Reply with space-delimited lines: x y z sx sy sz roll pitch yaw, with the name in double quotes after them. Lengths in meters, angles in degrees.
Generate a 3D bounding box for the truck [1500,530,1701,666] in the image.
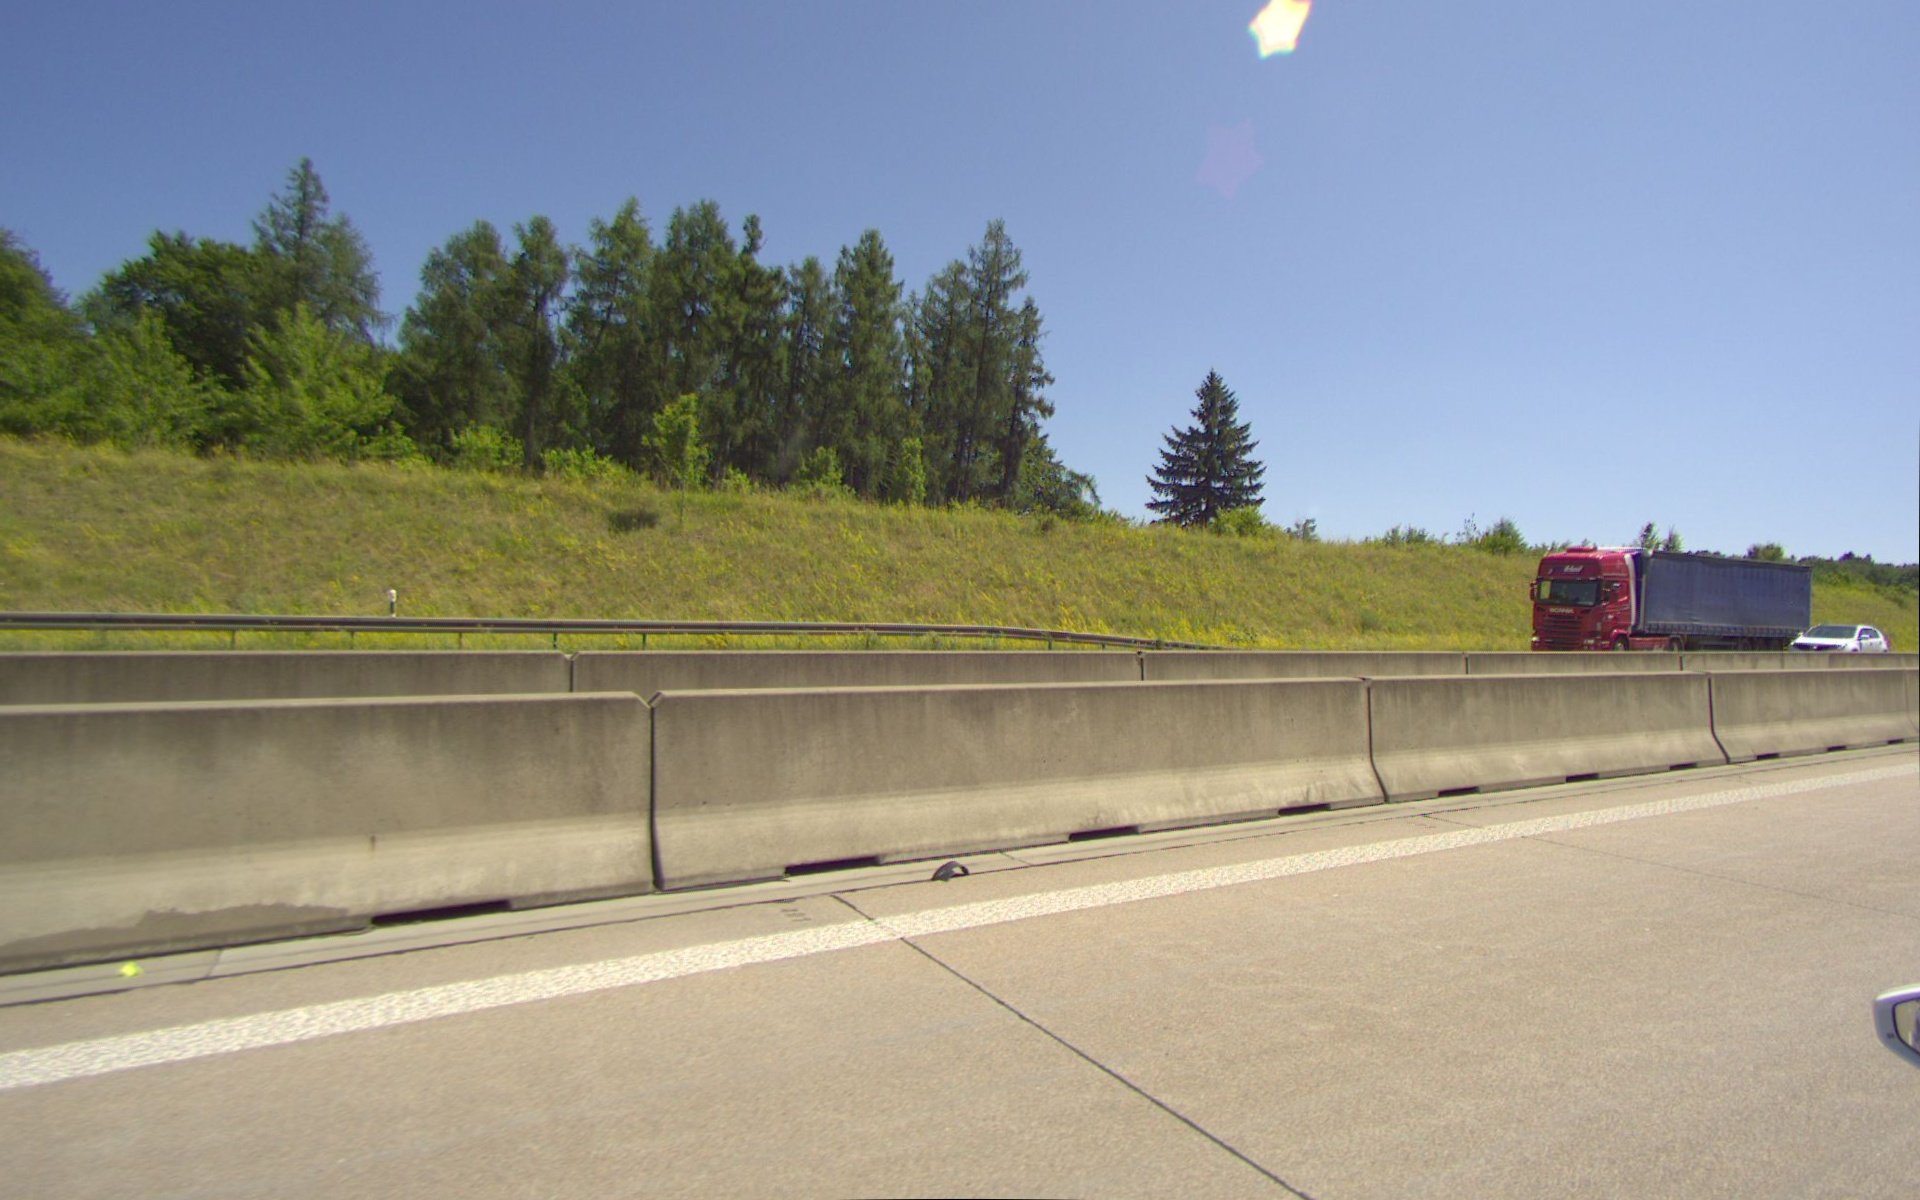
23.222 0.023 36.366 6.722 4.490 3.370 2 0 -31 "truck"

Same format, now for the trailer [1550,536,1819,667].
28.999 0.267 39.811 13.763 4.490 3.370 2 0 -31 "trailer"

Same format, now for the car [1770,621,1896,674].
31.109 1.670 35.770 4.760 1.715 1.984 2 0 -31 "car"
